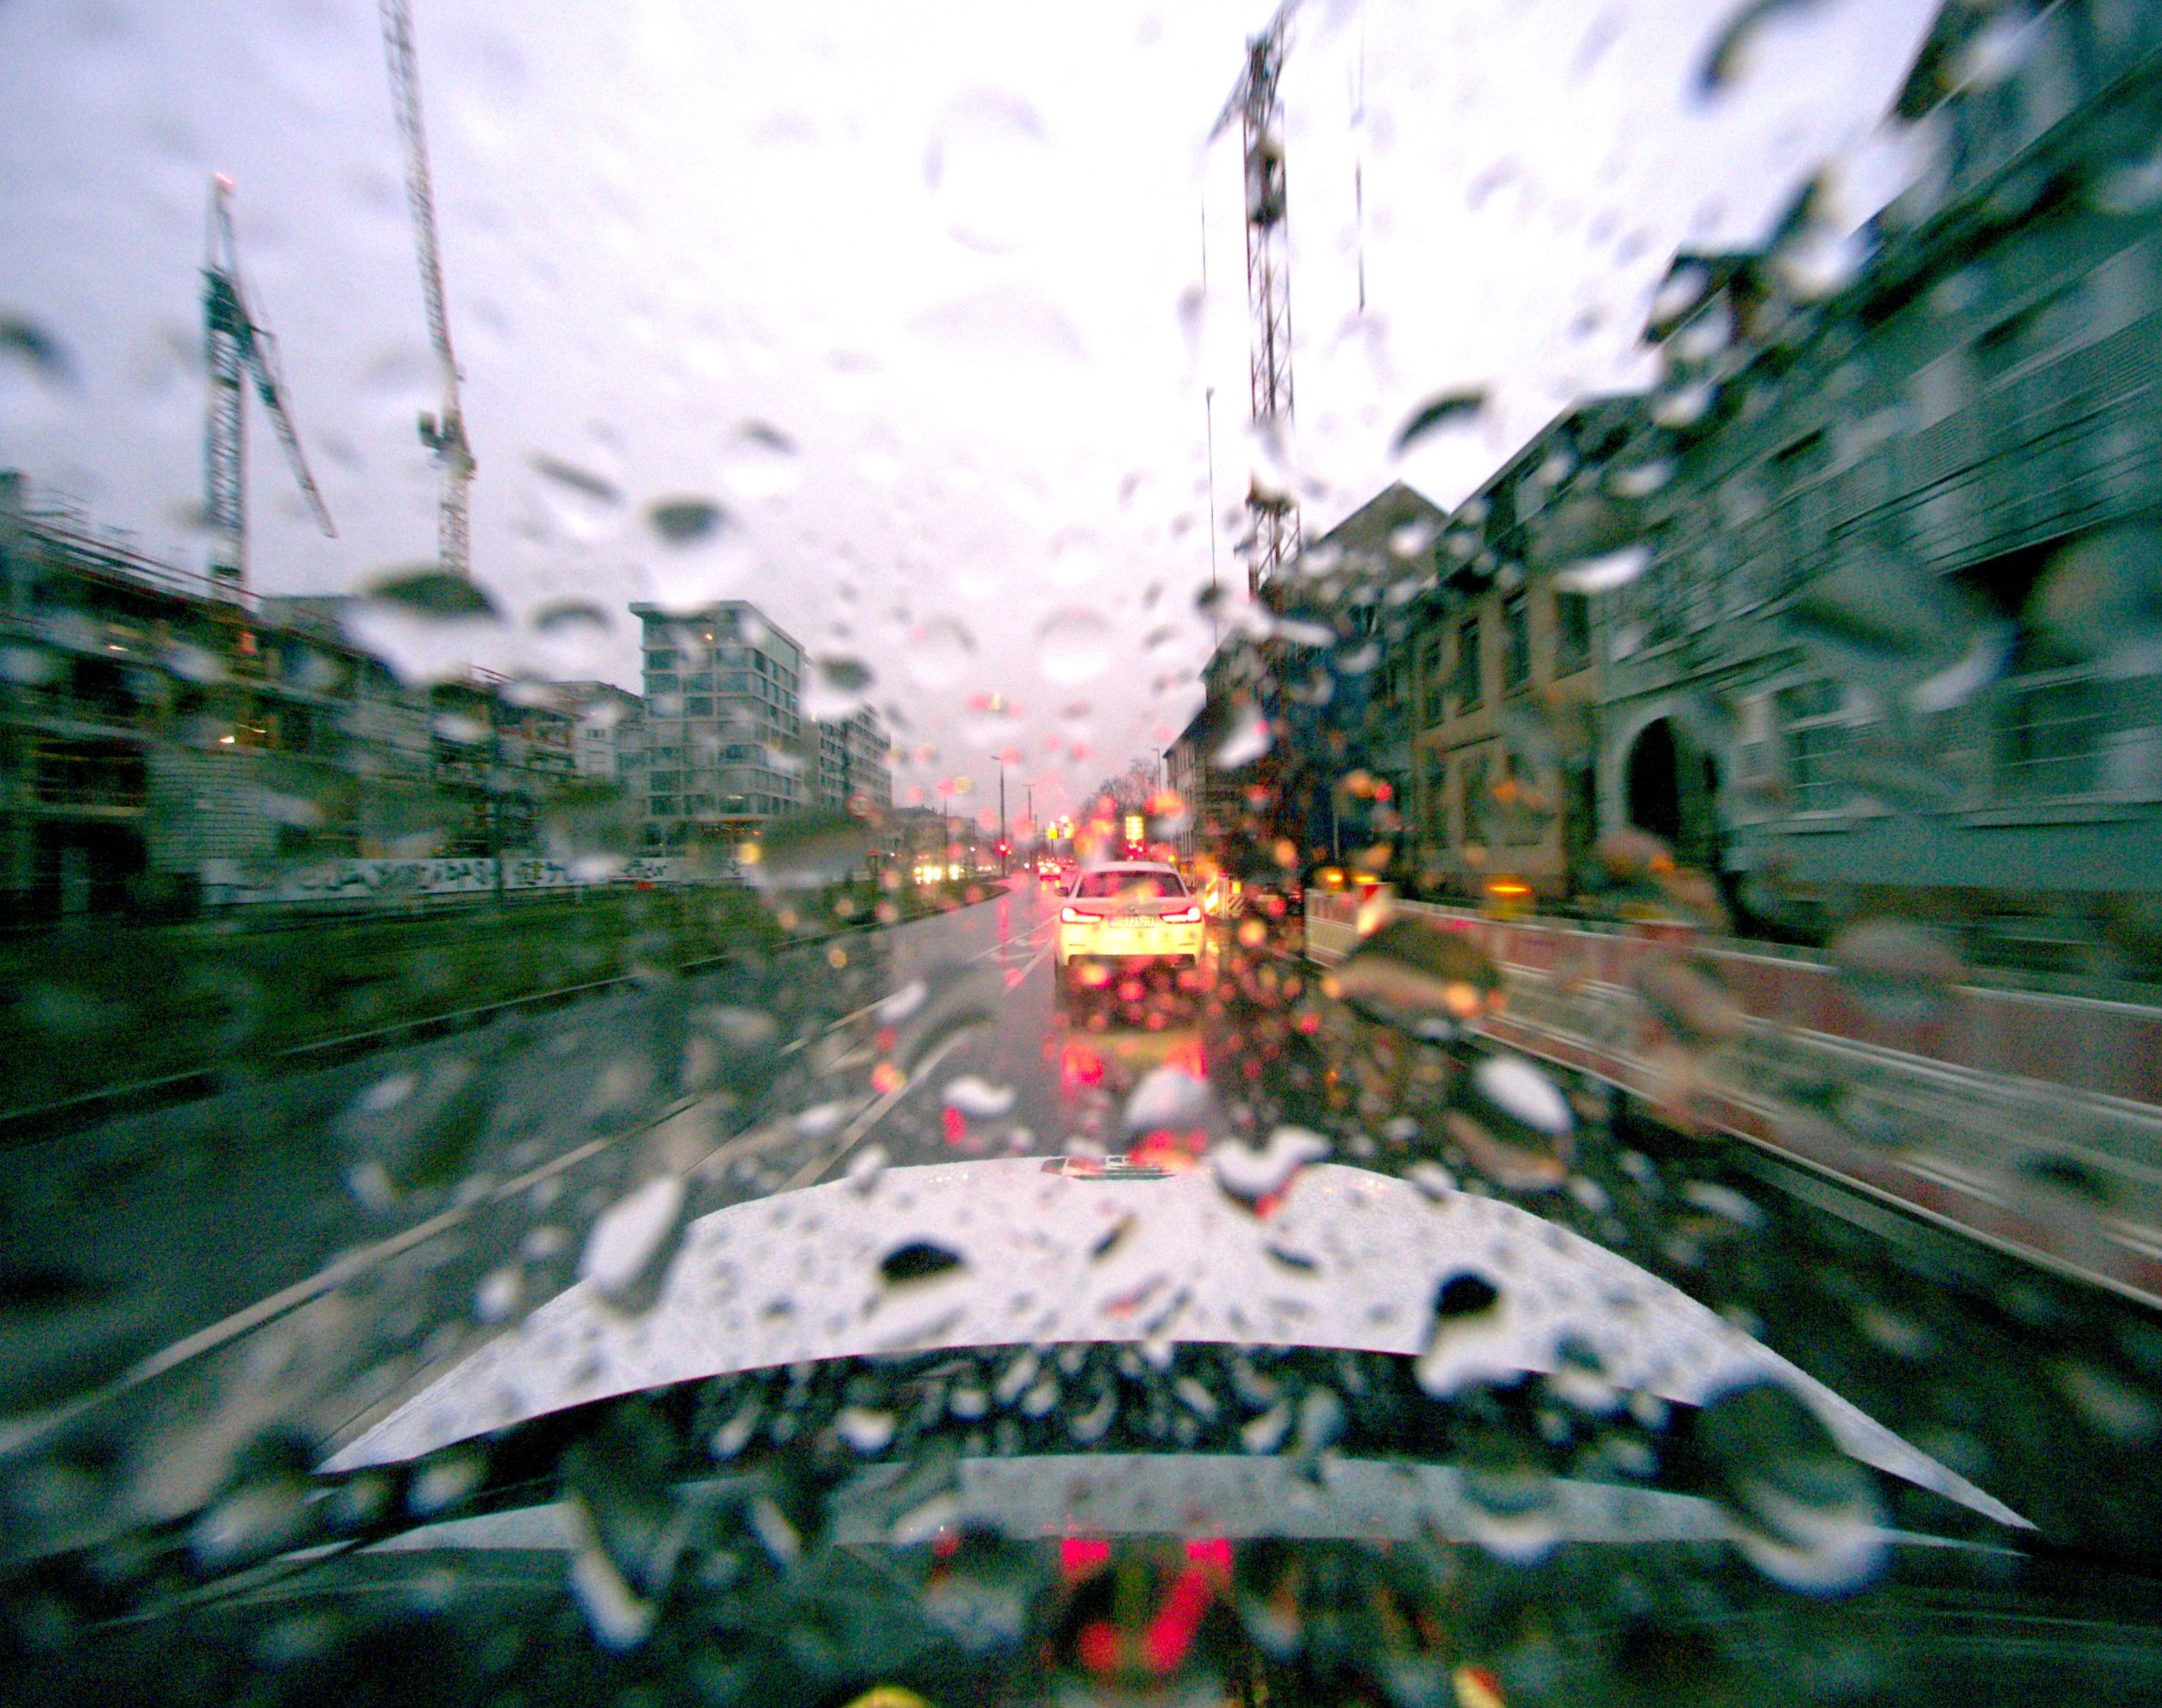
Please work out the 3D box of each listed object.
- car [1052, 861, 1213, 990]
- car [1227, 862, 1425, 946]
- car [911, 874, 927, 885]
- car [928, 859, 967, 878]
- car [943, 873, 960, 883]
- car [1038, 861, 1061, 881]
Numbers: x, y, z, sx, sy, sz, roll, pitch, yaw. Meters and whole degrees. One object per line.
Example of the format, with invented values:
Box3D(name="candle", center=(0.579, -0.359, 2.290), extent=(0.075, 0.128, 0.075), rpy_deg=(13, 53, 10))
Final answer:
Box3D(name="car", center=(0.538, 0.847, 11.834), extent=(1.847, 1.465, 4.943), rpy_deg=(0, -1, -1))
Box3D(name="car", center=(5.150, 0.932, 16.916), extent=(4.113, 1.518, 1.886), rpy_deg=(0, -1, -37))
Box3D(name="car", center=(-22.092, 3.454, 111.277), extent=(1.737, 1.492, 3.535), rpy_deg=(0, -1, -6))
Box3D(name="car", center=(-14.574, 1.560, 88.956), extent=(4.000, 1.975, 1.987), rpy_deg=(0, -1, -20))
Box3D(name="car", center=(-21.633, 4.039, 136.166), extent=(1.850, 1.640, 4.035), rpy_deg=(0, -1, 3))
Box3D(name="car", center=(-2.768, 1.477, 72.129), extent=(1.895, 1.642, 3.998), rpy_deg=(0, -1, -1))
